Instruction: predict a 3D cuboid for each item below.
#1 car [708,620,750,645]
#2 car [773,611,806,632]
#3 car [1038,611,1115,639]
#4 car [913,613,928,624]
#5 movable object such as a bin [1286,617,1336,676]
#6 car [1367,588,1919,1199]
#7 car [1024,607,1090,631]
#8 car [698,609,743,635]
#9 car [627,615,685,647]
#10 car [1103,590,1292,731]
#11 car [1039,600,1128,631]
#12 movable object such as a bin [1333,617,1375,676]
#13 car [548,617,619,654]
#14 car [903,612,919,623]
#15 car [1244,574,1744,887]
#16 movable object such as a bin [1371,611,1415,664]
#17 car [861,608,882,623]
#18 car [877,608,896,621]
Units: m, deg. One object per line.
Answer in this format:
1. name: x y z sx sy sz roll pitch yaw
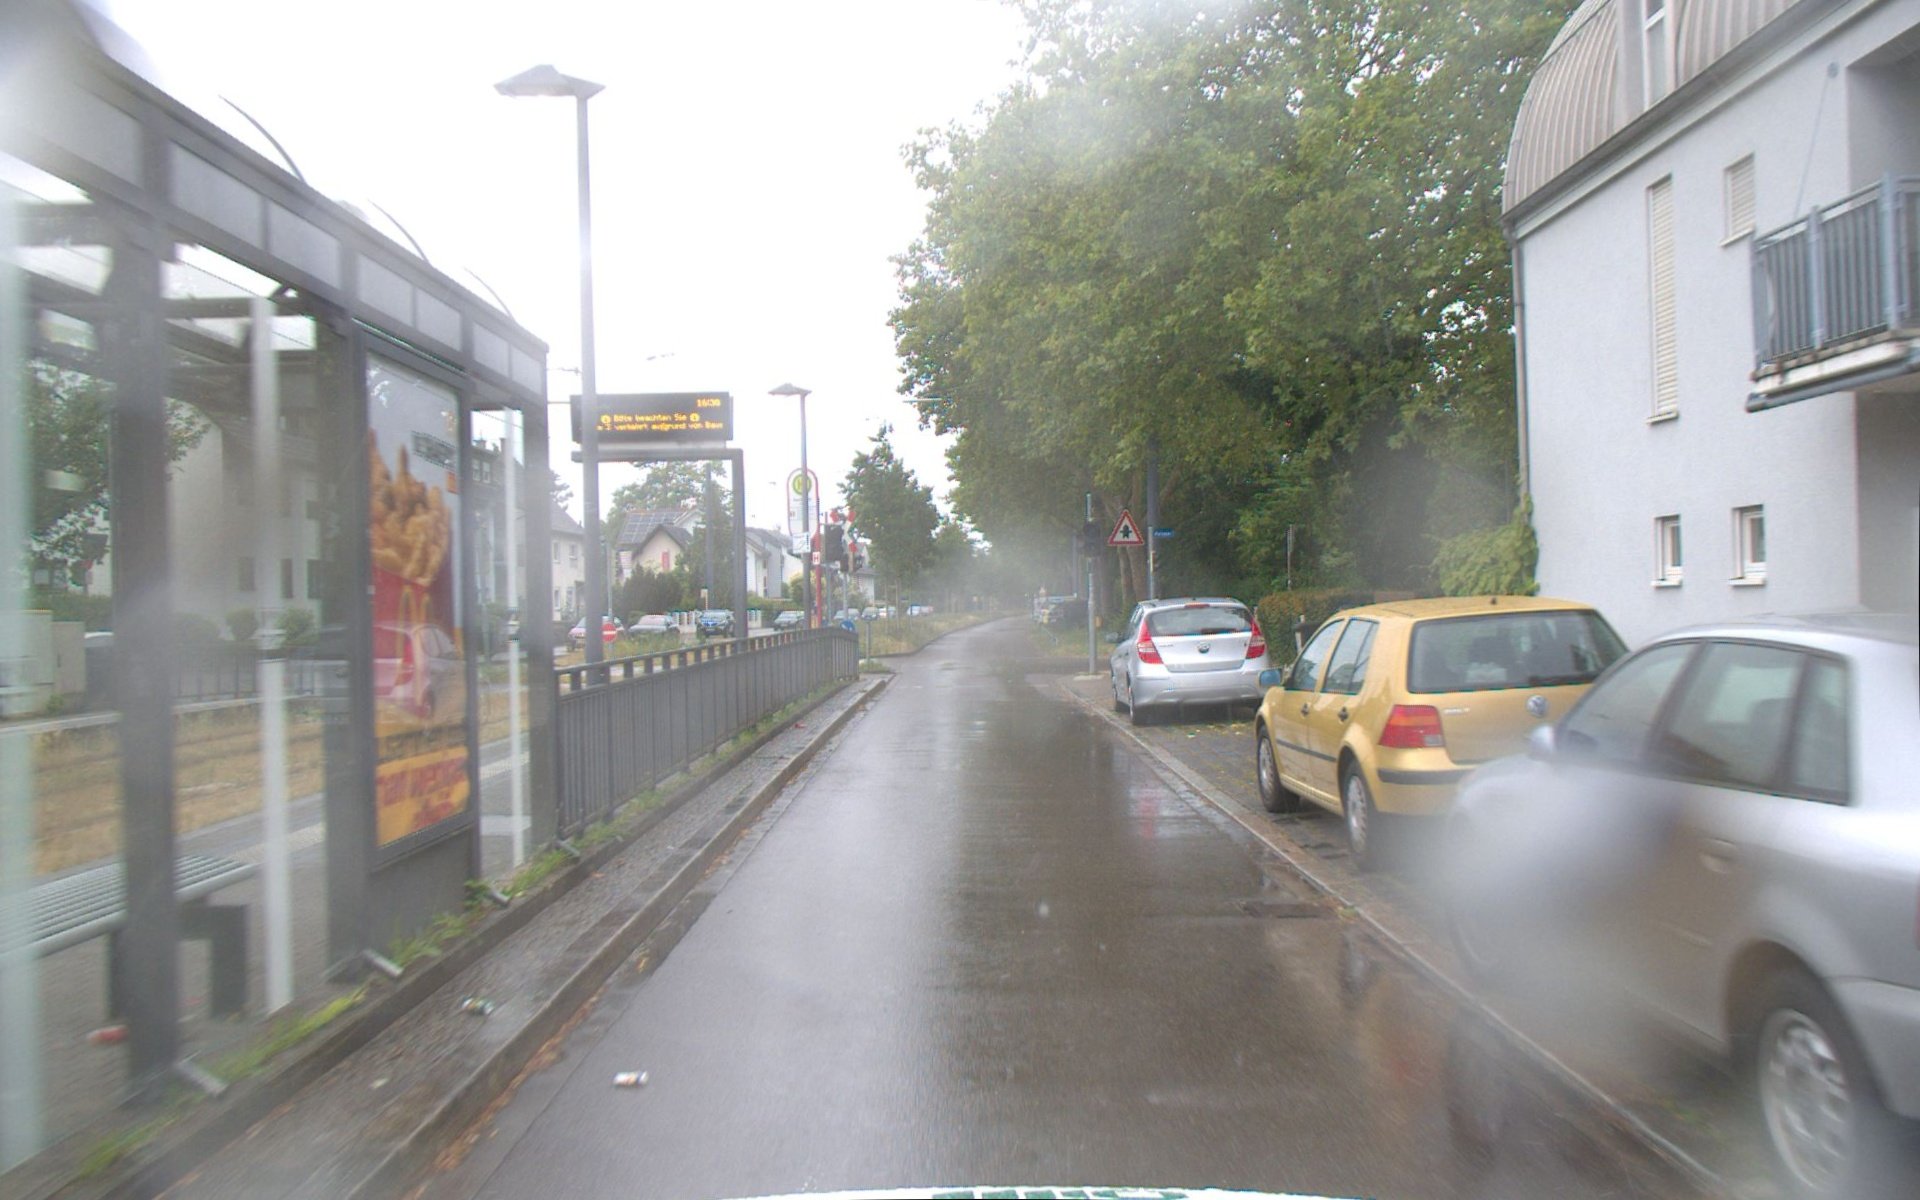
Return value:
1. car: -14.550 2.049 104.235 1.888 1.512 4.001 0 -1 3
2. car: -12.742 1.619 123.987 1.888 1.512 4.001 0 -1 3
3. car: 6.506 1.401 92.498 3.920 1.478 1.992 0 -1 -15
4. car: -5.674 2.647 236.716 1.888 1.512 4.001 0 -1 3
5. movable object such as a bin: 6.529 0.858 30.802 0.678 1.039 0.824 -4 -1 -1
6. car: 2.774 0.721 5.491 1.617 1.429 4.649 -4 -1 0
7. car: 6.357 1.242 108.300 3.920 1.478 1.992 0 -1 -15
8. car: -14.098 1.306 97.435 1.888 1.512 4.001 0 -1 3
9. car: -14.763 1.509 80.484 1.888 1.512 4.001 0 -1 3
10. car: 2.922 0.741 21.120 1.770 1.493 3.793 -4 -1 0
11. car: 5.977 0.762 80.425 3.920 1.478 1.992 0 -1 -15
12. movable object such as a bin: 7.179 0.845 30.175 0.525 1.039 0.738 -4 -1 -1
13. car: -15.786 1.494 69.595 1.888 1.512 4.001 0 -1 3
14. car: -6.593 2.360 222.553 1.888 1.512 4.001 0 -1 3
15. car: 3.011 0.693 10.214 1.770 1.429 3.793 -5 -1 0
16. movable object such as a bin: 7.835 0.684 29.940 0.525 0.914 0.738 -4 -1 -1
17. car: -9.623 1.707 180.739 1.888 1.512 4.001 0 -1 3
18. car: -8.556 1.720 192.712 1.888 1.512 4.001 0 -1 3
